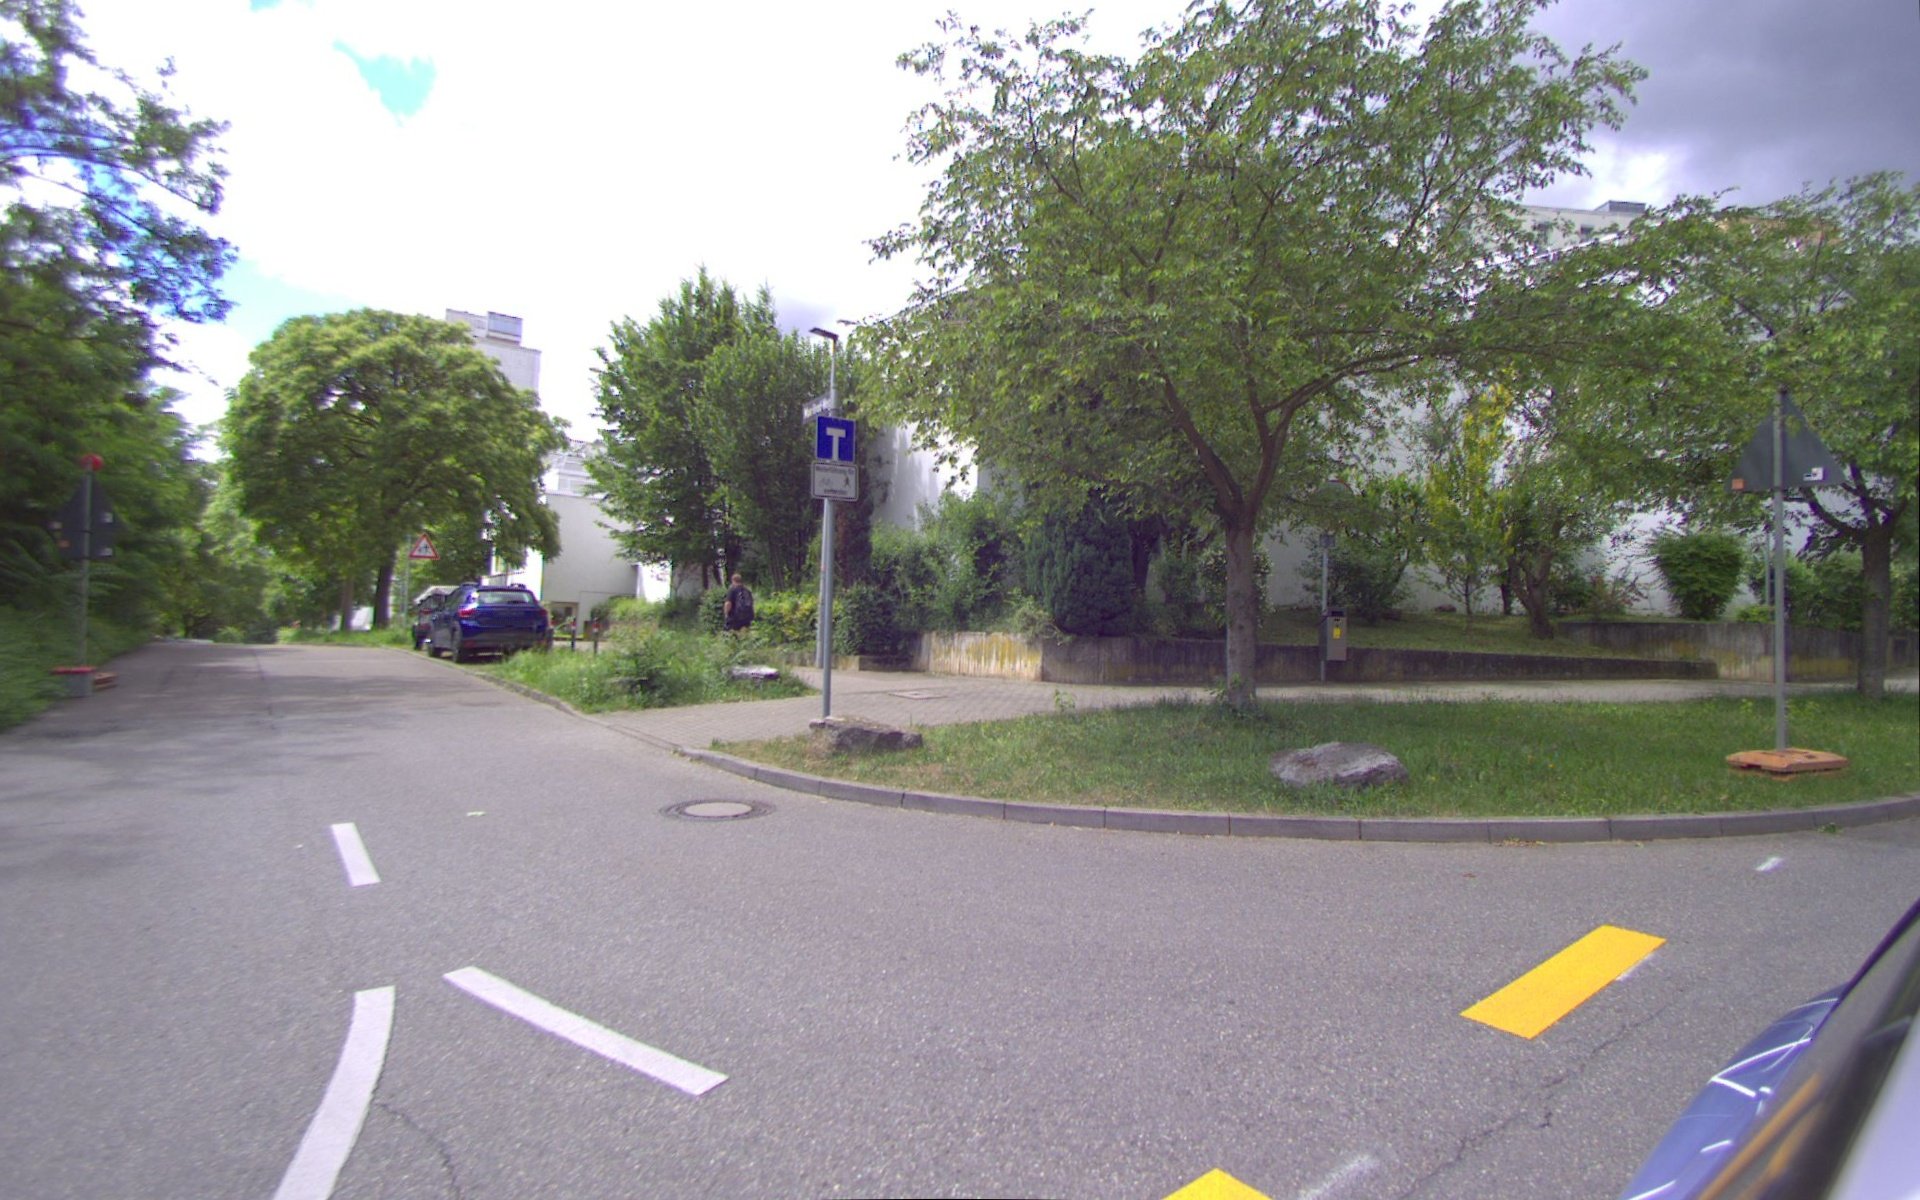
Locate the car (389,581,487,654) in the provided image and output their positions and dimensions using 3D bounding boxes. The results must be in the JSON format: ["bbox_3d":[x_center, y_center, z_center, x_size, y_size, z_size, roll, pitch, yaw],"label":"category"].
[{"bbox_3d":[-13.252,0.385,25.581,1.695,1.683,4.000,0,0,-35],"label":"car"}]

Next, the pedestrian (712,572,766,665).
[{"bbox_3d":[-4.317,0.337,19.720,0.771,1.759,0.835,0,0,-35],"label":"pedestrian"}]

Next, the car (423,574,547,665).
[{"bbox_3d":[-9.885,0.342,20.913,1.695,1.683,4.000,0,0,-35],"label":"car"}]
